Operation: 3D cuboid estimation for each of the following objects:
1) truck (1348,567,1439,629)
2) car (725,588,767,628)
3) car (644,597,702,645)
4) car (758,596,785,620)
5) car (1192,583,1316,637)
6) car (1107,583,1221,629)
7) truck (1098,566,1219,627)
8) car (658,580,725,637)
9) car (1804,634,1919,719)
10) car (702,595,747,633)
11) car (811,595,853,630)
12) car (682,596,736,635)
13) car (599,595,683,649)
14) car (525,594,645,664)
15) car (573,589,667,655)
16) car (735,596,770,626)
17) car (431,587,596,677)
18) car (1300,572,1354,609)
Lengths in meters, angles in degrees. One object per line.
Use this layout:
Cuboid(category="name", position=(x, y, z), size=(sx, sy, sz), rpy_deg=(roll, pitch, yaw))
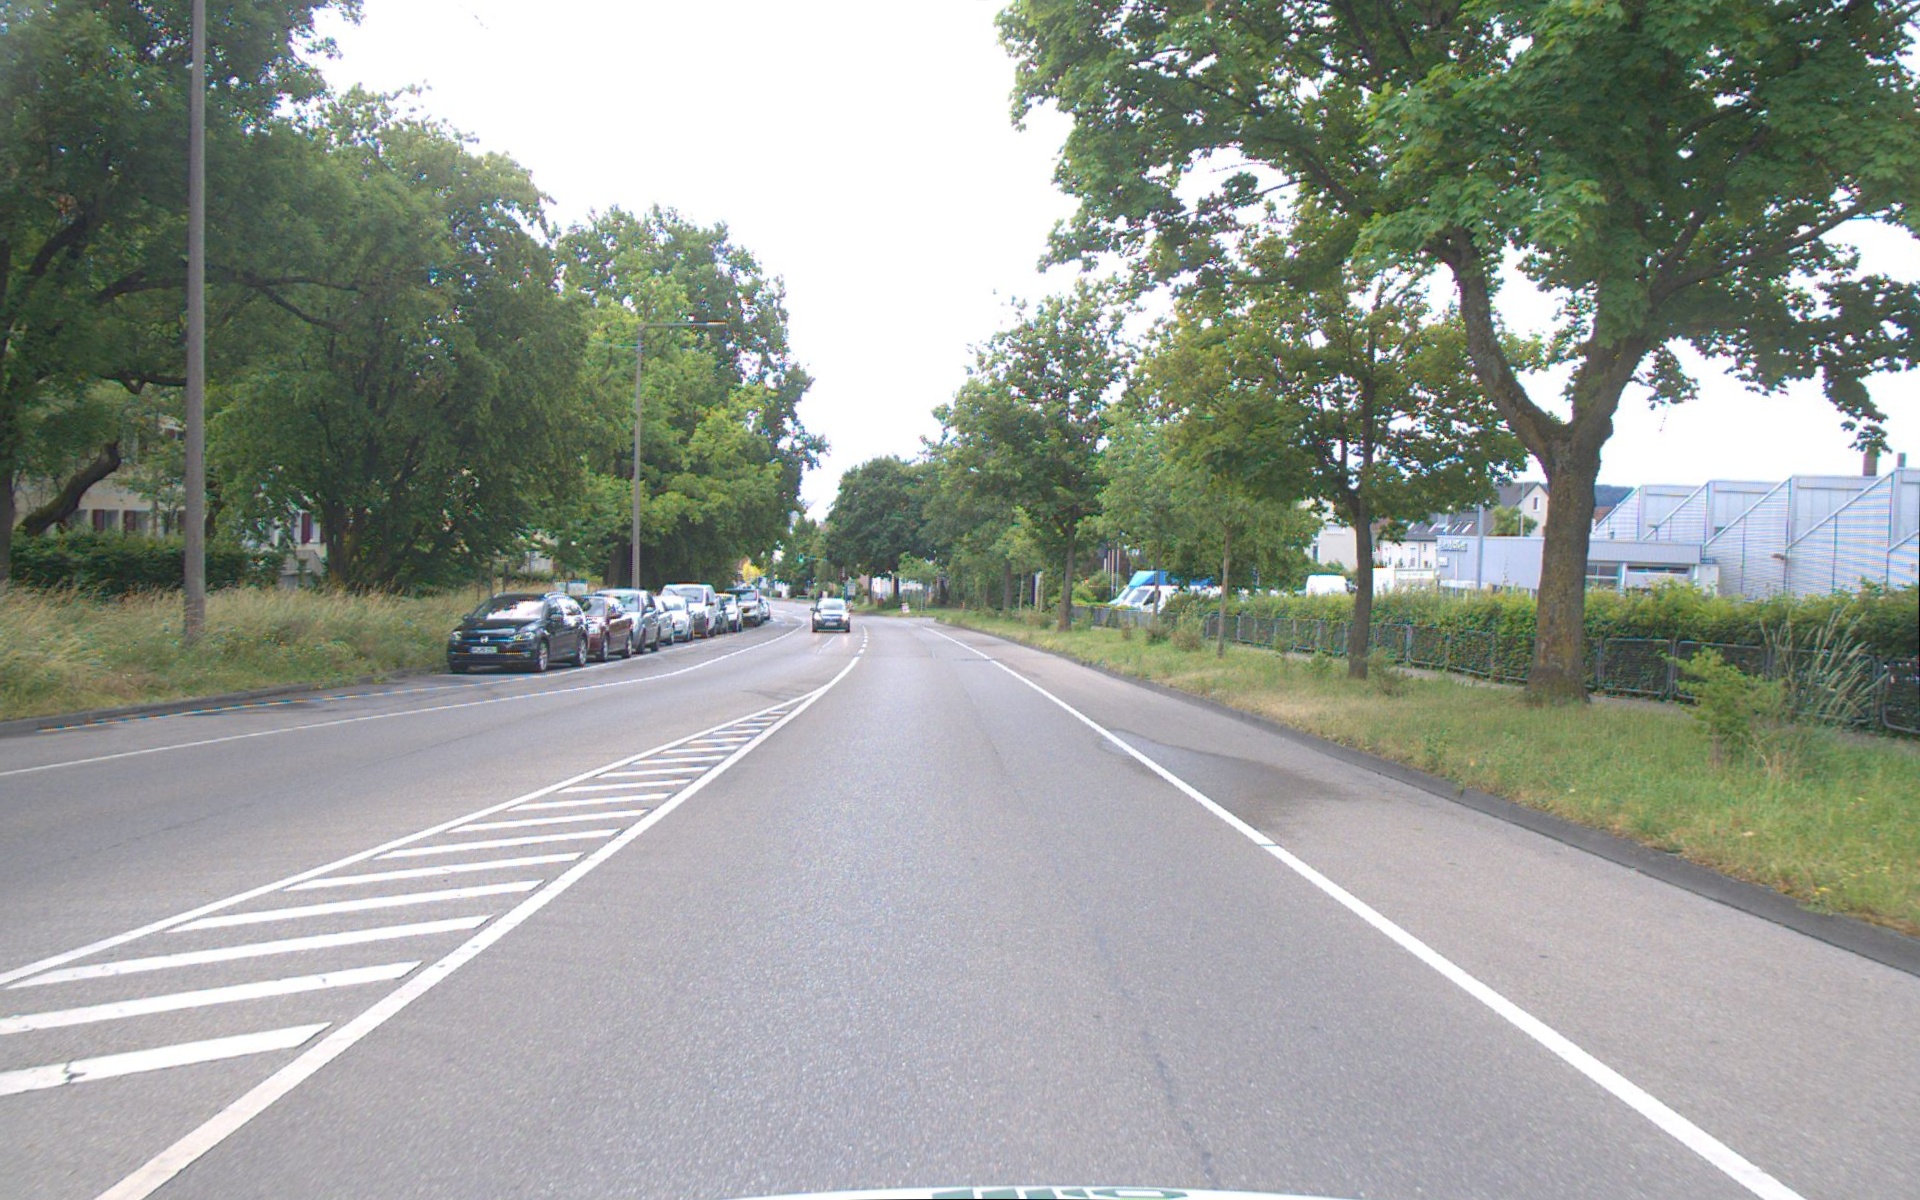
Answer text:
Cuboid(category="truck", position=(26.285, -0.090, 100.738), size=(2.795, 3.519, 9.538), rpy_deg=(2, 0, -1))
Cuboid(category="car", position=(-11.113, 0.424, 86.066), size=(1.829, 1.998, 5.122), rpy_deg=(1, 0, -4))
Cuboid(category="car", position=(-9.386, 0.649, 54.356), size=(1.603, 1.458, 3.945), rpy_deg=(2, 0, -6))
Cuboid(category="car", position=(-12.844, 0.581, 112.929), size=(1.732, 1.600, 4.754), rpy_deg=(0, -1, -5))
Cuboid(category="car", position=(12.919, 0.439, 72.640), size=(5.185, 2.226, 2.052), rpy_deg=(2, -1, -28))
Cuboid(category="car", position=(11.305, 0.343, 91.515), size=(5.939, 2.408, 2.342), rpy_deg=(2, -1, -27))
Cuboid(category="truck", position=(11.952, -0.185, 99.537), size=(7.080, 3.538, 2.595), rpy_deg=(0, 0, -28))
Cuboid(category="car", position=(-9.747, 0.281, 60.313), size=(1.732, 1.964, 5.153), rpy_deg=(2, 0, -2))
Cuboid(category="car", position=(25.719, 2.105, 46.464), size=(1.953, 2.183, 3.999), rpy_deg=(2, 0, 0))
Cuboid(category="car", position=(-10.138, 0.592, 71.451), size=(1.640, 1.592, 4.278), rpy_deg=(0, 0, -4))
Cuboid(category="car", position=(-5.631, 0.534, 73.173), size=(1.604, 1.493, 3.999), rpy_deg=(0, 0, -1))
Cuboid(category="car", position=(-10.096, 0.622, 66.694), size=(1.639, 1.514, 4.043), rpy_deg=(-1, 0, -2))
Cuboid(category="car", position=(-9.513, 0.627, 49.644), size=(1.732, 1.521, 4.356), rpy_deg=(-1, 0, -1))
Cuboid(category="car", position=(-8.407, 0.617, 37.386), size=(1.731, 1.473, 4.149), rpy_deg=(1, 0, 0))
Cuboid(category="car", position=(-8.696, 0.527, 42.629), size=(1.732, 1.619, 4.132), rpy_deg=(1, 0, -3))
Cuboid(category="car", position=(-11.866, 0.635, 94.936), size=(1.731, 1.662, 4.154), rpy_deg=(1, 0, -4))
Cuboid(category="car", position=(-8.536, 0.581, 32.052), size=(1.836, 1.598, 4.651), rpy_deg=(1, 0, 1))
Cuboid(category="car", position=(28.852, -0.779, 129.958), size=(2.217, 2.723, 5.431), rpy_deg=(1, 2, 35))
